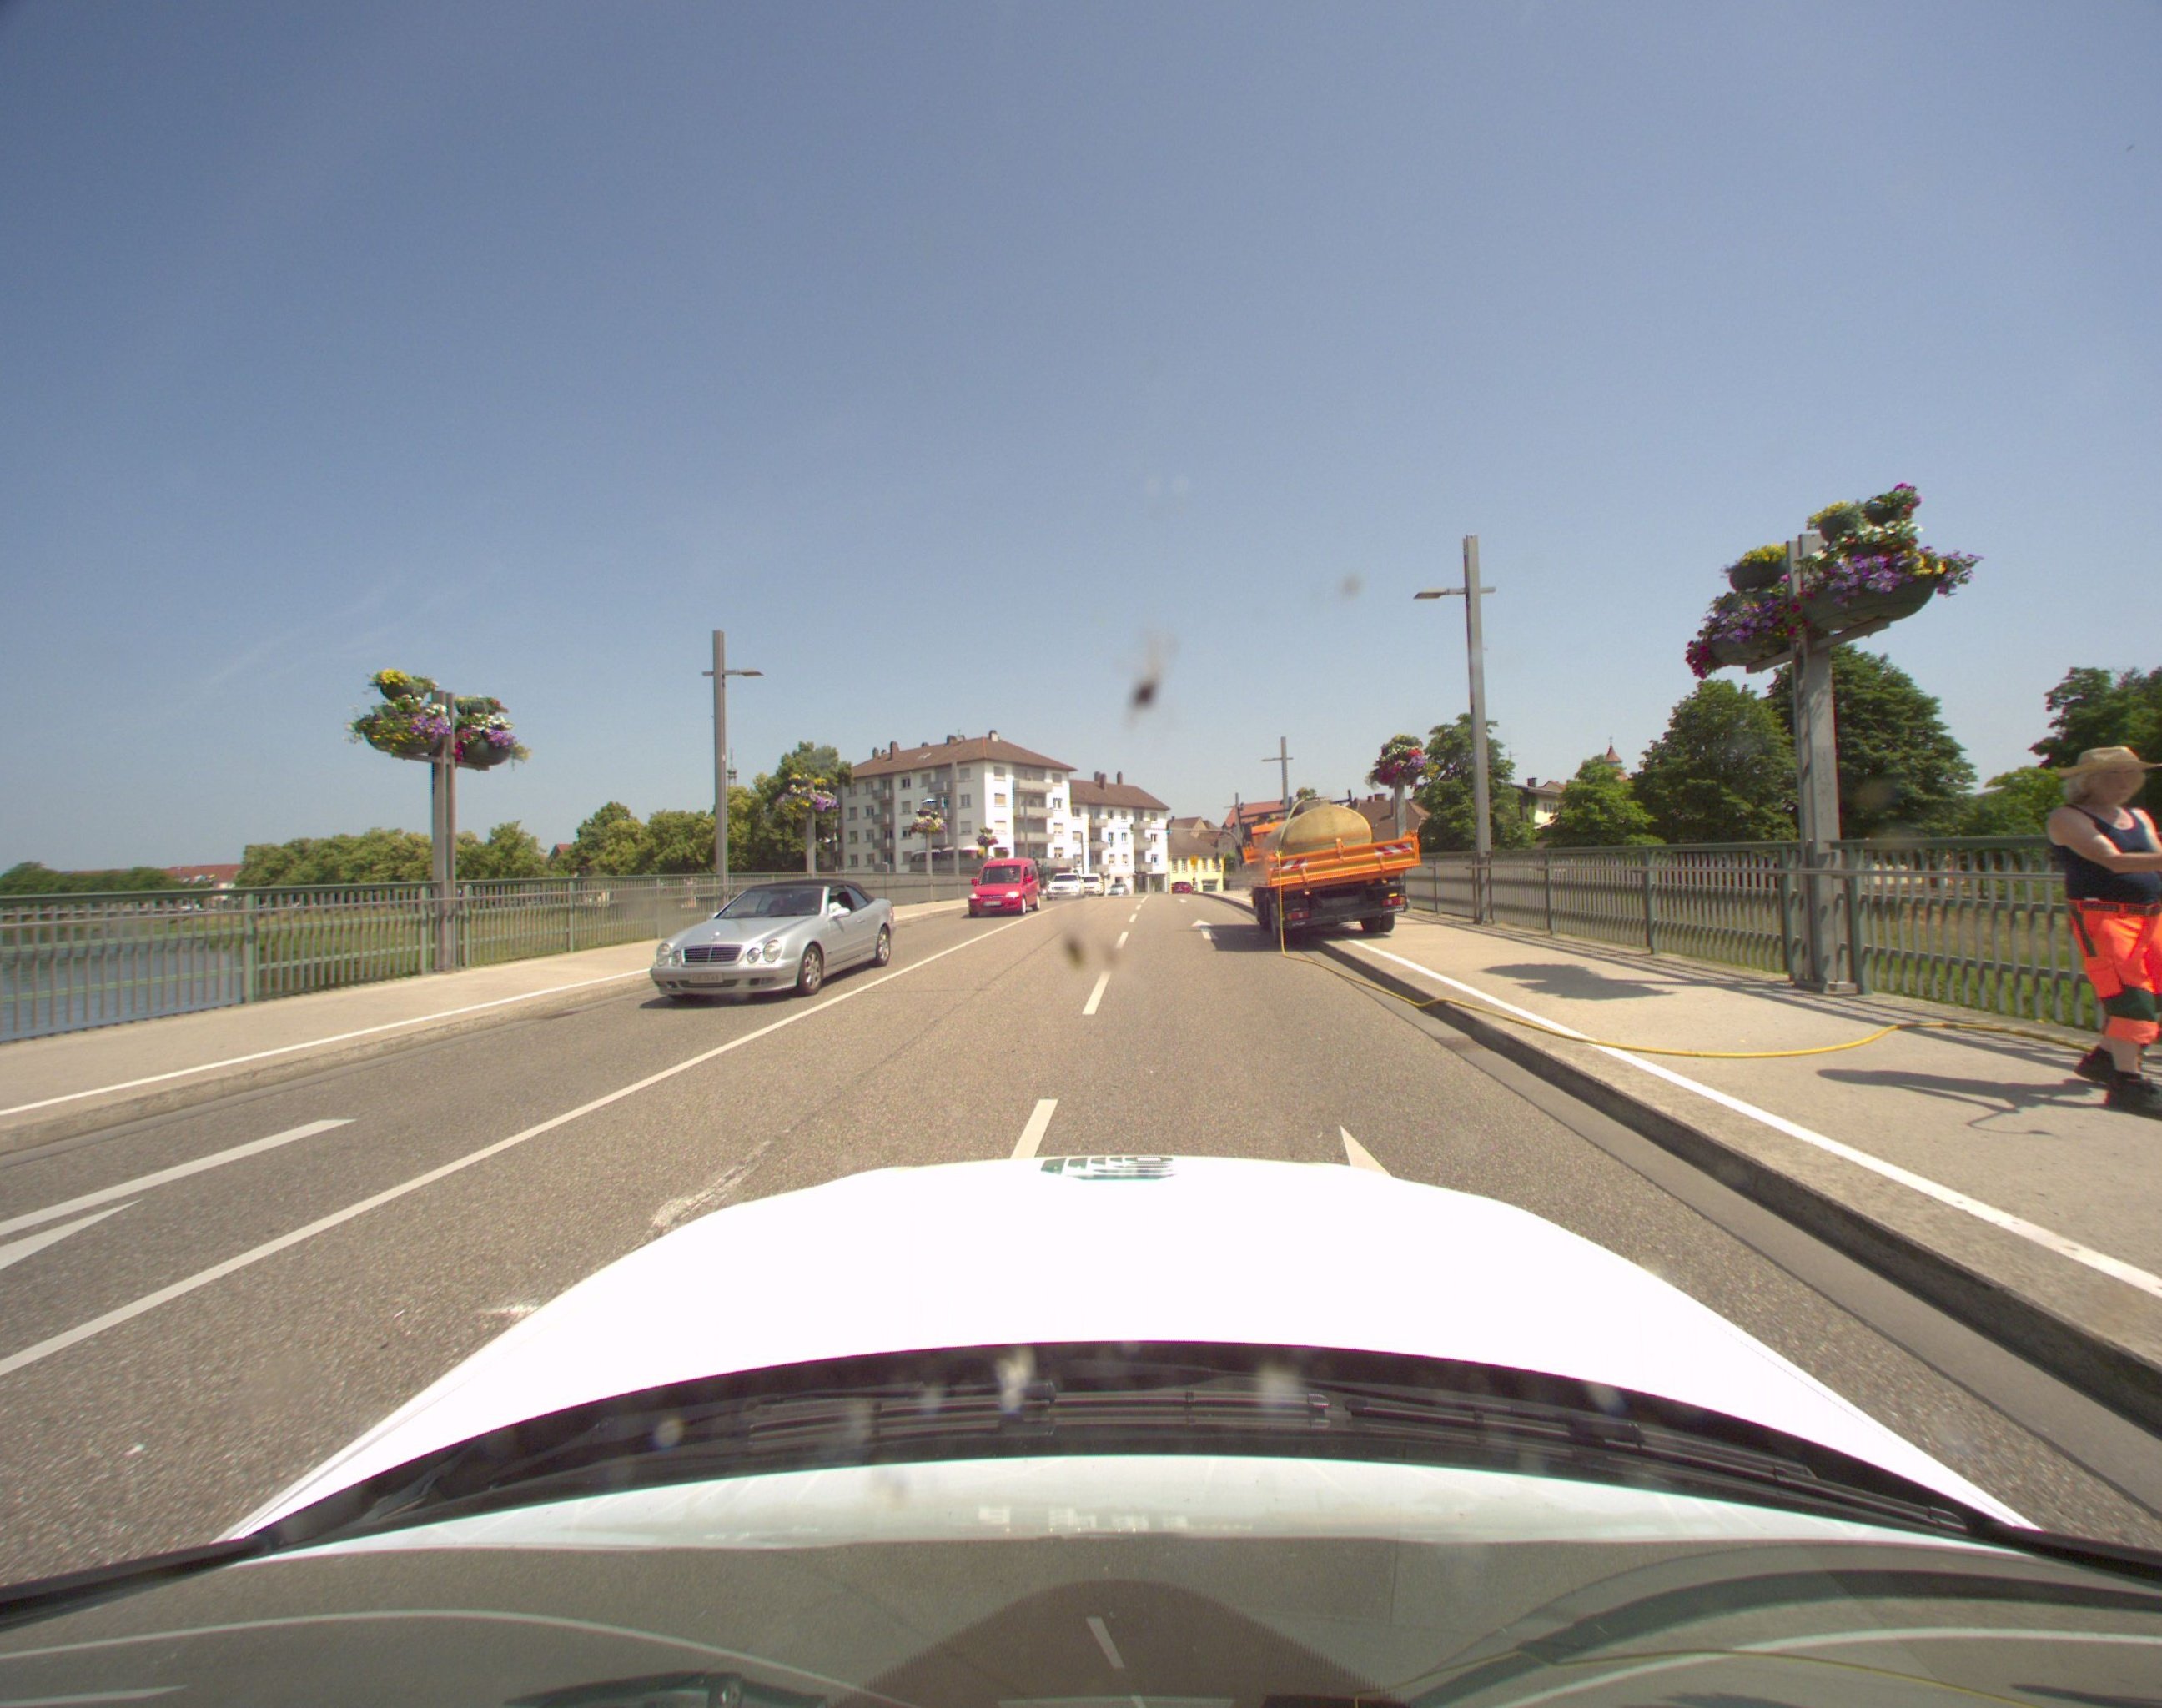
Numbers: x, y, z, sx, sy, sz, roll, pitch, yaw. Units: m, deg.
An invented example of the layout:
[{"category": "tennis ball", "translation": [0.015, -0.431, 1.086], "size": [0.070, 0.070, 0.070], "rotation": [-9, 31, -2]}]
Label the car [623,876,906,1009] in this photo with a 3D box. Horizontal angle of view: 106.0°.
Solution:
[{"category": "car", "translation": [-3.903, 1.017, 10.998], "size": [1.690, 1.359, 4.462], "rotation": [-2, -2, 5]}]

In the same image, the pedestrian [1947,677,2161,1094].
[{"category": "pedestrian", "translation": [5.170, 0.145, 4.214], "size": [0.547, 1.960, 0.670], "rotation": [-1, -2, -12]}]

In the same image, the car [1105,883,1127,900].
[{"category": "car", "translation": [3.512, 3.725, 81.145], "size": [1.751, 1.519, 4.007], "rotation": [-3, -2, 7]}]

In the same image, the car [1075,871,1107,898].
[{"category": "car", "translation": [0.806, 2.403, 62.667], "size": [1.749, 1.857, 4.656], "rotation": [-6, -4, 8]}]

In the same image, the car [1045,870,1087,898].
[{"category": "car", "translation": [-0.773, 1.622, 44.568], "size": [1.836, 1.432, 4.718], "rotation": [-2, -2, 4]}]

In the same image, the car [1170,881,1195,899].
[{"category": "car", "translation": [10.356, 3.659, 82.977], "size": [1.976, 1.613, 4.359], "rotation": [-2, -1, 14]}]

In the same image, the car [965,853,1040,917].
[{"category": "car", "translation": [-2.373, 0.963, 25.586], "size": [1.729, 1.777, 4.179], "rotation": [-2, -2, 3]}]

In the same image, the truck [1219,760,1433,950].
[{"category": "truck", "translation": [4.277, 0.068, 15.540], "size": [2.593, 2.691, 5.832], "rotation": [-6, -2, 6]}]
